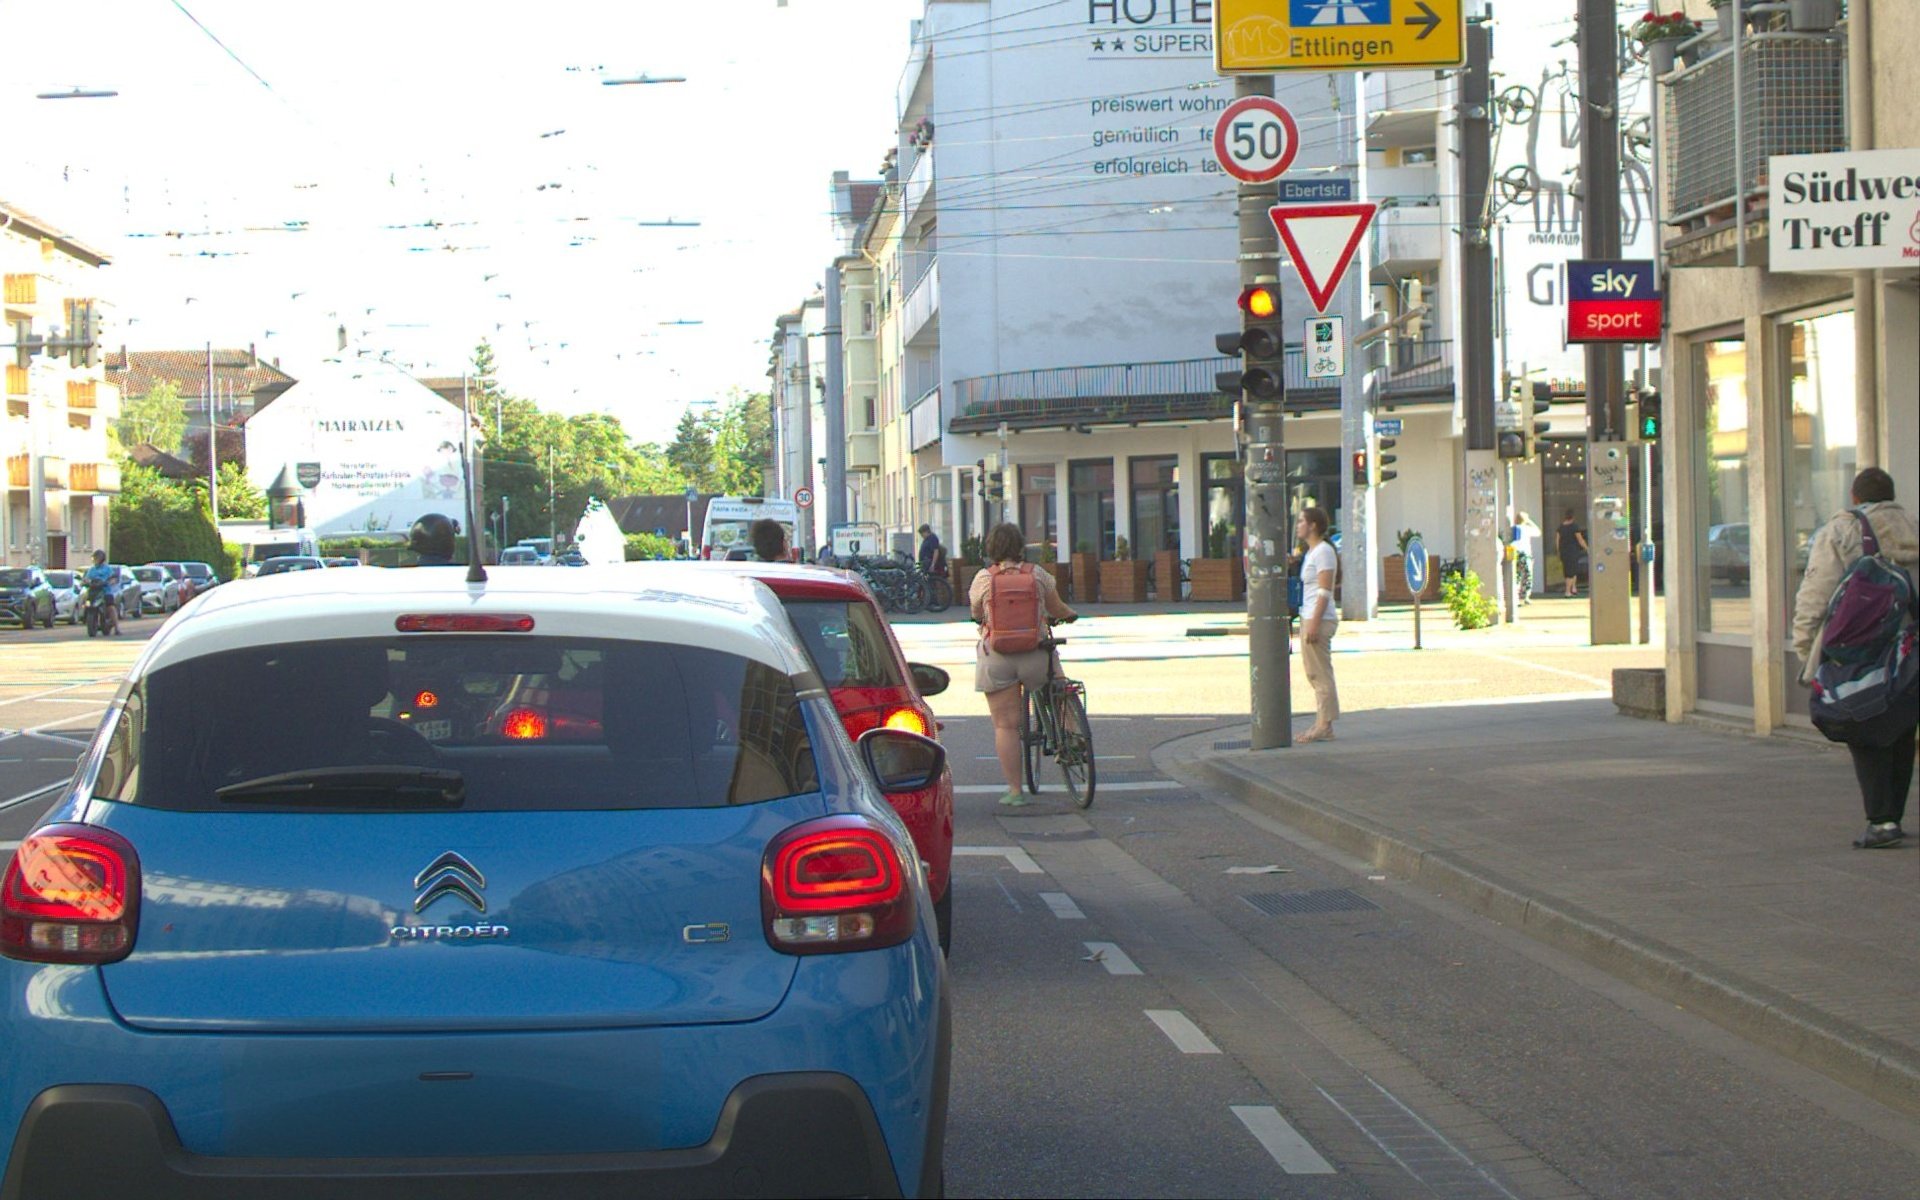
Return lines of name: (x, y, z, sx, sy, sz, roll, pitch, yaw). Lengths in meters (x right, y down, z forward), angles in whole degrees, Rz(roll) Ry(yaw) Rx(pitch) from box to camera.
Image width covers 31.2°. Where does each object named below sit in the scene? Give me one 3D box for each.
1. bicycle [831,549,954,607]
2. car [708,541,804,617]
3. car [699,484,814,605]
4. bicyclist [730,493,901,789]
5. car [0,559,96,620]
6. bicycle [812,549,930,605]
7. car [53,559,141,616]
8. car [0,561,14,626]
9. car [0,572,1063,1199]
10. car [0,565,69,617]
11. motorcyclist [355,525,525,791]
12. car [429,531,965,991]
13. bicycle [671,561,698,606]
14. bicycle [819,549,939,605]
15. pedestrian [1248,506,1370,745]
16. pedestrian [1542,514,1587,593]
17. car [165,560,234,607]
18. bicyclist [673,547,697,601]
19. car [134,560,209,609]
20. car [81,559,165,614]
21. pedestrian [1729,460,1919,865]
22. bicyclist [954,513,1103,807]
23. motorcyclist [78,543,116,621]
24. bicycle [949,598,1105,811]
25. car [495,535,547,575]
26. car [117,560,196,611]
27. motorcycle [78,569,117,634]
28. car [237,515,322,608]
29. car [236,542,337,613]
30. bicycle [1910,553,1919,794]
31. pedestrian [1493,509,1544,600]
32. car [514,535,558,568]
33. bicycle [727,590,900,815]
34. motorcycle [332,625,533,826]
bicycle: (-1.300, -0.426, 65.799, 2.251, 0.998, 0.856, -3, 1, -5)
car: (-4.047, -0.427, 67.826, 1.657, 1.426, 3.889, 1, 1, -7)
car: (-4.342, -1.163, 72.811, 2.265, 2.473, 5.009, 0, 1, -5)
bicyclist: (-0.833, 0.227, 19.988, 0.940, 1.667, 1.079, 1, 0, -2)
car: (-24.390, -0.300, 92.066, 1.869, 1.571, 4.001, 1, 1, -6)
bicycle: (-1.772, -0.460, 68.280, 2.251, 0.998, 0.856, -3, 1, -5)
car: (-24.602, -0.364, 98.126, 1.869, 1.571, 4.001, 1, 1, -6)
car: (-23.179, -0.157, 79.387, 1.741, 1.521, 4.230, 1, 1, -4)
car: (-0.751, 0.676, 7.162, 1.736, 1.447, 3.662, 0, 1, 5)
car: (-23.683, -0.237, 86.034, 1.946, 1.235, 4.283, 1, 1, -5)
motorcyclist: (-2.977, 0.323, 19.728, 0.855, 1.483, 0.729, 1, 0, -1)
car: (-1.054, 0.513, 13.471, 1.784, 1.516, 3.763, 1, 1, -5)
bicycle: (-10.419, -0.637, 130.072, 0.791, 1.664, 2.230, 1, 1, 1)
bicycle: (-1.591, -0.453, 67.167, 2.251, 0.998, 0.856, -3, 1, -5)
pedestrian: (2.459, 0.176, 24.167, 0.540, 1.618, 0.732, -5, -1, 21)
pedestrian: (11.067, -0.858, 62.944, 0.607, 1.439, 0.554, 1, 0, 35)
car: (-26.302, -0.597, 118.997, 1.869, 1.571, 4.001, 1, 1, -6)
bicyclist: (-10.415, -0.991, 130.075, 0.791, 2.018, 0.986, 1, 0, 1)
car: (-25.818, -0.527, 112.665, 1.869, 1.571, 4.001, 1, 1, -6)
car: (-24.992, -0.415, 102.742, 1.869, 1.571, 4.001, 1, 1, -6)
pedestrian: (3.793, 0.233, 14.222, 0.884, 1.586, 0.811, -4, 2, -8)
bicyclist: (0.411, 0.340, 20.303, 0.811, 1.686, 0.935, 1, 0, 4)
motorcyclist: (-16.833, -0.353, 67.078, 0.693, 1.491, 0.684, -1, -1, -14)
bicycle: (0.423, 0.590, 20.530, 0.811, 1.177, 2.064, 1, 1, 4)
car: (-21.797, -2.254, 170.963, 2.218, 1.925, 4.950, 1, 1, -4)
car: (-25.193, -0.470, 107.892, 1.869, 1.571, 4.001, 1, 1, -6)
motorcycle: (-16.799, 0.031, 66.971, 0.711, 1.216, 1.966, -1, -1, -14)
car: (-23.557, -1.321, 119.107, 2.417, 3.131, 3.489, 1, 0, -3)
car: (-14.939, -0.513, 76.427, 1.778, 1.481, 3.829, -2, 1, -5)
bicycle: (4.902, 0.354, 15.753, 0.496, 1.157, 1.777, -1, 0, -3)
pedestrian: (9.925, -0.800, 61.046, 0.611, 1.603, 0.667, 1, 1, 42)
car: (-23.142, -2.637, 187.818, 2.074, 1.756, 5.037, 1, 1, -4)
bicycle: (-0.839, 0.563, 20.042, 0.940, 1.219, 2.095, 1, 1, -2)
motorcycle: (-2.977, 0.686, 19.579, 0.855, 1.043, 1.942, 1, 1, -1)
